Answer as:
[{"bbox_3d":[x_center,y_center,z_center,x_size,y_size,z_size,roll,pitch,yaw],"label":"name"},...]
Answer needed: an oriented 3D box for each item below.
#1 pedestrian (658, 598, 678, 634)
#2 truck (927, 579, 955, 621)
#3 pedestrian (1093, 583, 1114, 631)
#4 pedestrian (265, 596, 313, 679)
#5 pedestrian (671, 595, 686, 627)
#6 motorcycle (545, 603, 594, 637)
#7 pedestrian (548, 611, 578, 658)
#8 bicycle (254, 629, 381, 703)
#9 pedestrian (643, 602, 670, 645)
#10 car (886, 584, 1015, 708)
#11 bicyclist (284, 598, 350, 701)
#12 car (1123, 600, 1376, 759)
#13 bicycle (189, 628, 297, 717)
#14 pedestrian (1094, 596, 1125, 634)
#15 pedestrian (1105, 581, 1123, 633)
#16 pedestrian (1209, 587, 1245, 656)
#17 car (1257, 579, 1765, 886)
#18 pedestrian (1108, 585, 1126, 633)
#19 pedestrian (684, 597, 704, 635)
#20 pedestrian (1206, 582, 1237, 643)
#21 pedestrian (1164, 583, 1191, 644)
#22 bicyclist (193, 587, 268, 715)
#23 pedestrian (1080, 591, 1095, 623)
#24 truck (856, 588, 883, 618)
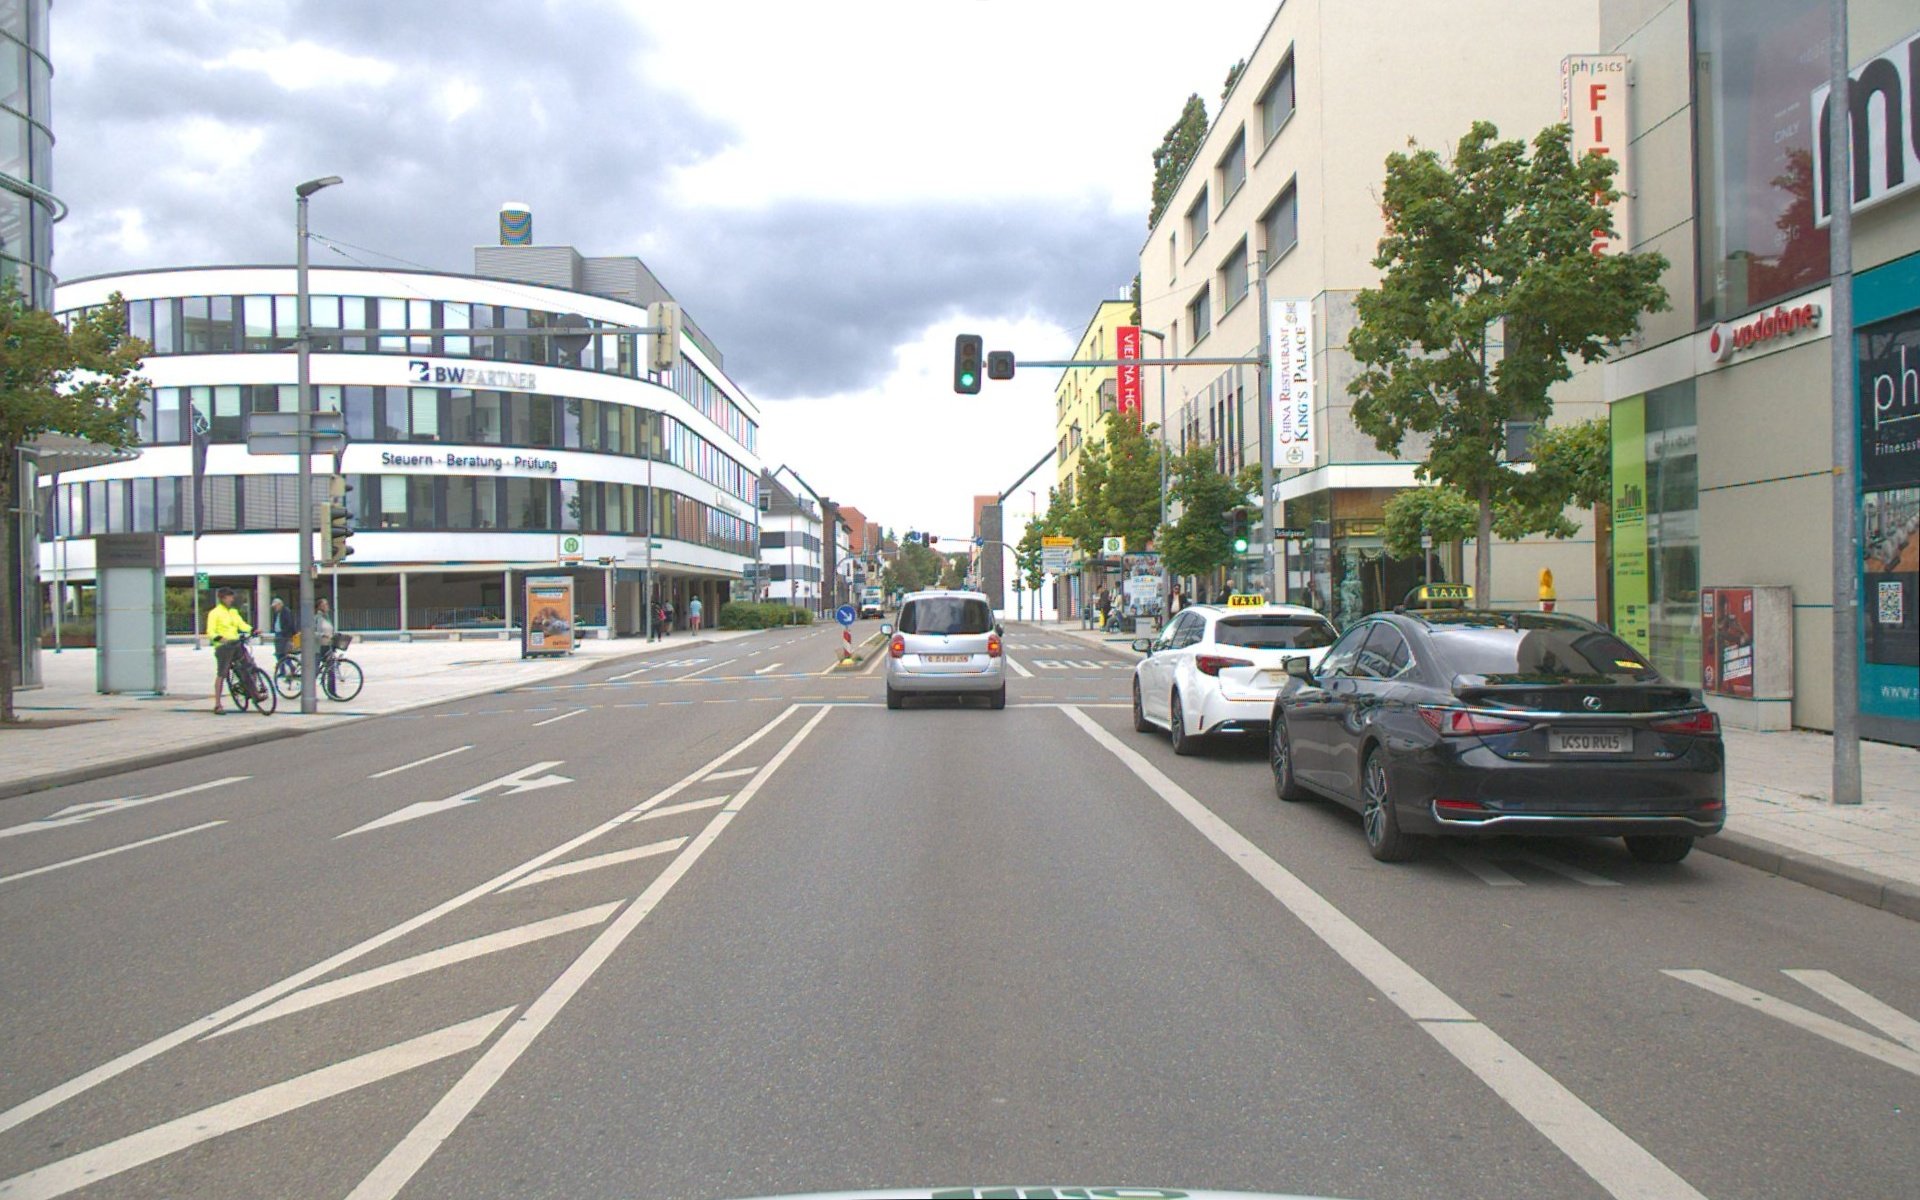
[{"bbox_3d":[-13.247,0.720,75.036,0.715,1.641,0.931,0,0,1],"label":"pedestrian"},{"bbox_3d":[-1.753,-0.017,156.794,2.542,3.925,6.847,0,0,0],"label":"truck"},{"bbox_3d":[5.190,0.265,59.949,0.705,1.713,0.733,-2,-1,4],"label":"pedestrian"},{"bbox_3d":[-16.292,0.894,40.176,0.894,1.979,0.739,1,-1,-40],"label":"pedestrian"},{"bbox_3d":[-15.369,0.607,90.367,0.495,1.760,0.614,-1,-1,30],"label":"pedestrian"},{"bbox_3d":[-16.042,0.810,67.920,1.816,1.356,0.636,1,0,3],"label":"motorcycle"},{"bbox_3d":[-11.168,0.962,46.548,0.670,1.275,0.576,-2,0,-2],"label":"pedestrian"},{"bbox_3d":[-10.751,1.086,27.678,1.957,1.150,0.639,1,0,14],"label":"bicycle"},{"bbox_3d":[-11.524,0.884,62.775,0.812,1.594,0.813,0,0,4],"label":"pedestrian"},{"bbox_3d":[-0.161,0.609,23.790,1.672,1.606,3.999,1,0,-1],"label":"car"},{"bbox_3d":[-10.773,0.816,27.706,0.765,1.678,0.639,1,0,14],"label":"bicyclist"},{"bbox_3d":[2.868,0.729,17.359,1.747,1.450,4.513,0,0,-2],"label":"car"},{"bbox_3d":[-10.726,1.059,24.721,1.996,1.227,0.743,1,0,44],"label":"bicycle"},{"bbox_3d":[5.198,0.506,57.491,0.924,1.281,0.732,-2,-1,-4],"label":"pedestrian"},{"bbox_3d":[5.447,0.258,58.535,0.567,1.800,0.857,-2,-1,4],"label":"pedestrian"},{"bbox_3d":[6.468,0.523,40.134,0.725,1.636,0.714,-1,0,-1],"label":"pedestrian"},{"bbox_3d":[3.294,0.697,10.981,1.701,1.569,4.789,1,0,-1],"label":"car"},{"bbox_3d":[5.324,0.312,56.144,0.567,1.618,0.733,-2,-1,4],"label":"pedestrian"},{"bbox_3d":[-11.895,0.704,74.091,0.715,1.703,0.931,0,0,1],"label":"pedestrian"},{"bbox_3d":[7.344,0.351,46.427,0.729,1.698,0.614,-1,0,-1],"label":"pedestrian"},{"bbox_3d":[6.073,0.371,46.233,0.641,1.698,0.614,-1,0,-1],"label":"pedestrian"},{"bbox_3d":[-10.792,0.741,24.460,0.761,1.831,0.743,1,0,43],"label":"bicyclist"},{"bbox_3d":[6.640,0.364,86.103,0.681,1.621,0.603,-2,0,-2],"label":"pedestrian"},{"bbox_3d":[-9.232,0.333,169.465,2.385,3.005,8.362,-1,0,-1],"label":"truck"}]
